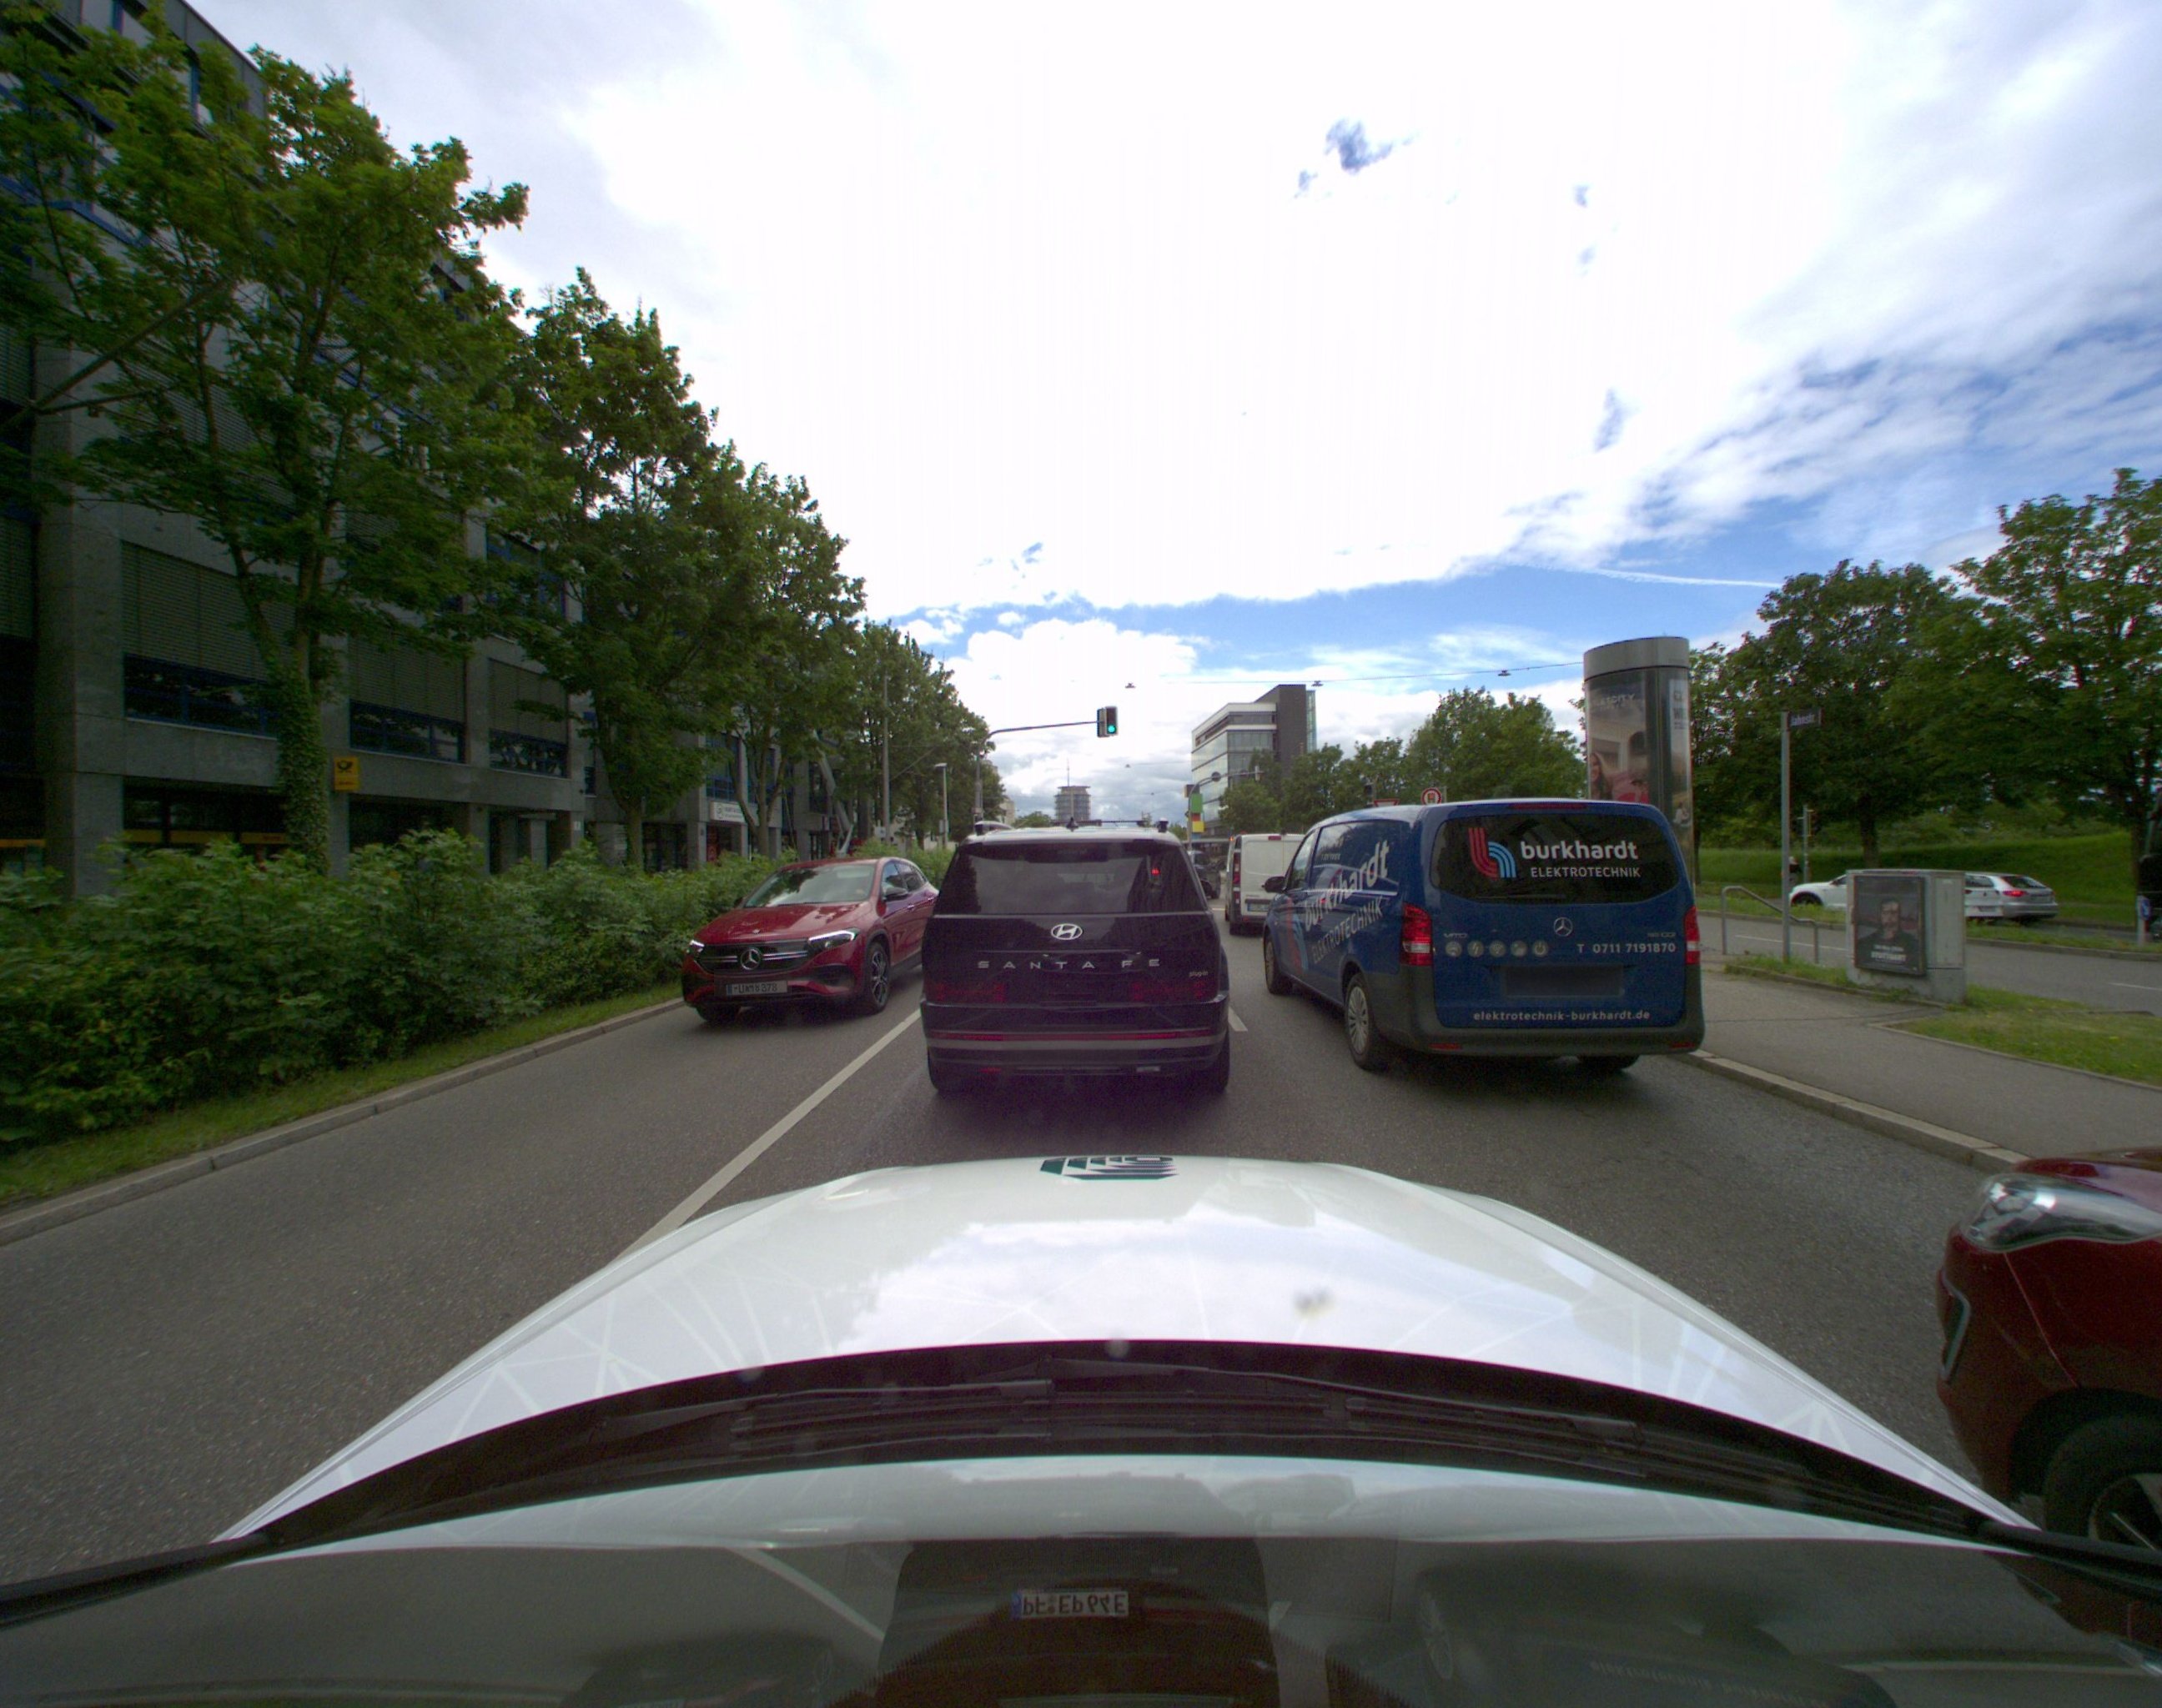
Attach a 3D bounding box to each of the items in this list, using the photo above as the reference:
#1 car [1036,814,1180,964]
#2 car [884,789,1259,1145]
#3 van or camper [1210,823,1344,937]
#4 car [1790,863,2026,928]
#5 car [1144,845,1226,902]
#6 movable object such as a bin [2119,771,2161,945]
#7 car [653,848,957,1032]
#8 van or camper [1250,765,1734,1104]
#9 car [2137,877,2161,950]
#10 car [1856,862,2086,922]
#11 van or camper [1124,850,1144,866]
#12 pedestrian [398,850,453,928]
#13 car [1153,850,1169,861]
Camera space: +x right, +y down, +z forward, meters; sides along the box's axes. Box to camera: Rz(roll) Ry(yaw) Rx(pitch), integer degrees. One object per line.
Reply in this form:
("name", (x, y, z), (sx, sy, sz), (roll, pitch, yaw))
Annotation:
("car", (0.428, 0.475, 13.050), (1.908, 2.003, 3.881), (-1, 0, 2))
("car", (0.013, 0.577, 6.068), (1.862, 1.760, 3.881), (-1, 0, 2))
("van or camper", (3.863, 0.472, 16.875), (1.984, 2.013, 4.658), (-1, 0, 5))
("car", (21.753, 1.035, 21.681), (1.994, 1.453, 3.985), (1, 0, -11))
("car", (3.529, 0.607, 26.870), (1.761, 1.717, 4.360), (-1, -1, 20))
("movable object such as a bin", (26.248, 0.027, 14.912), (2.860, 3.903, 8.536), (-1, -1, -11))
("car", (-2.841, 0.806, 9.490), (1.839, 1.581, 4.120), (-4, -1, 3))
("van or camper", (2.884, 0.469, 7.210), (1.853, 1.911, 5.034), (-1, 0, 2))
("car", (22.993, 1.234, 14.930), (1.994, 1.453, 3.985), (1, 0, -11))
("car", (25.085, 1.018, 23.180), (1.994, 1.453, 3.985), (1, 0, -11))
("van or camper", (8.740, 0.621, 133.875), (1.979, 2.547, 6.603), (-1, -1, 14))
("pedestrian", (-16.354, 0.856, 20.325), (0.771, 1.894, 0.731), (-1, -1, 1))
("car", (12.858, 0.192, 131.028), (1.987, 1.684, 3.998), (-1, -1, -1))
